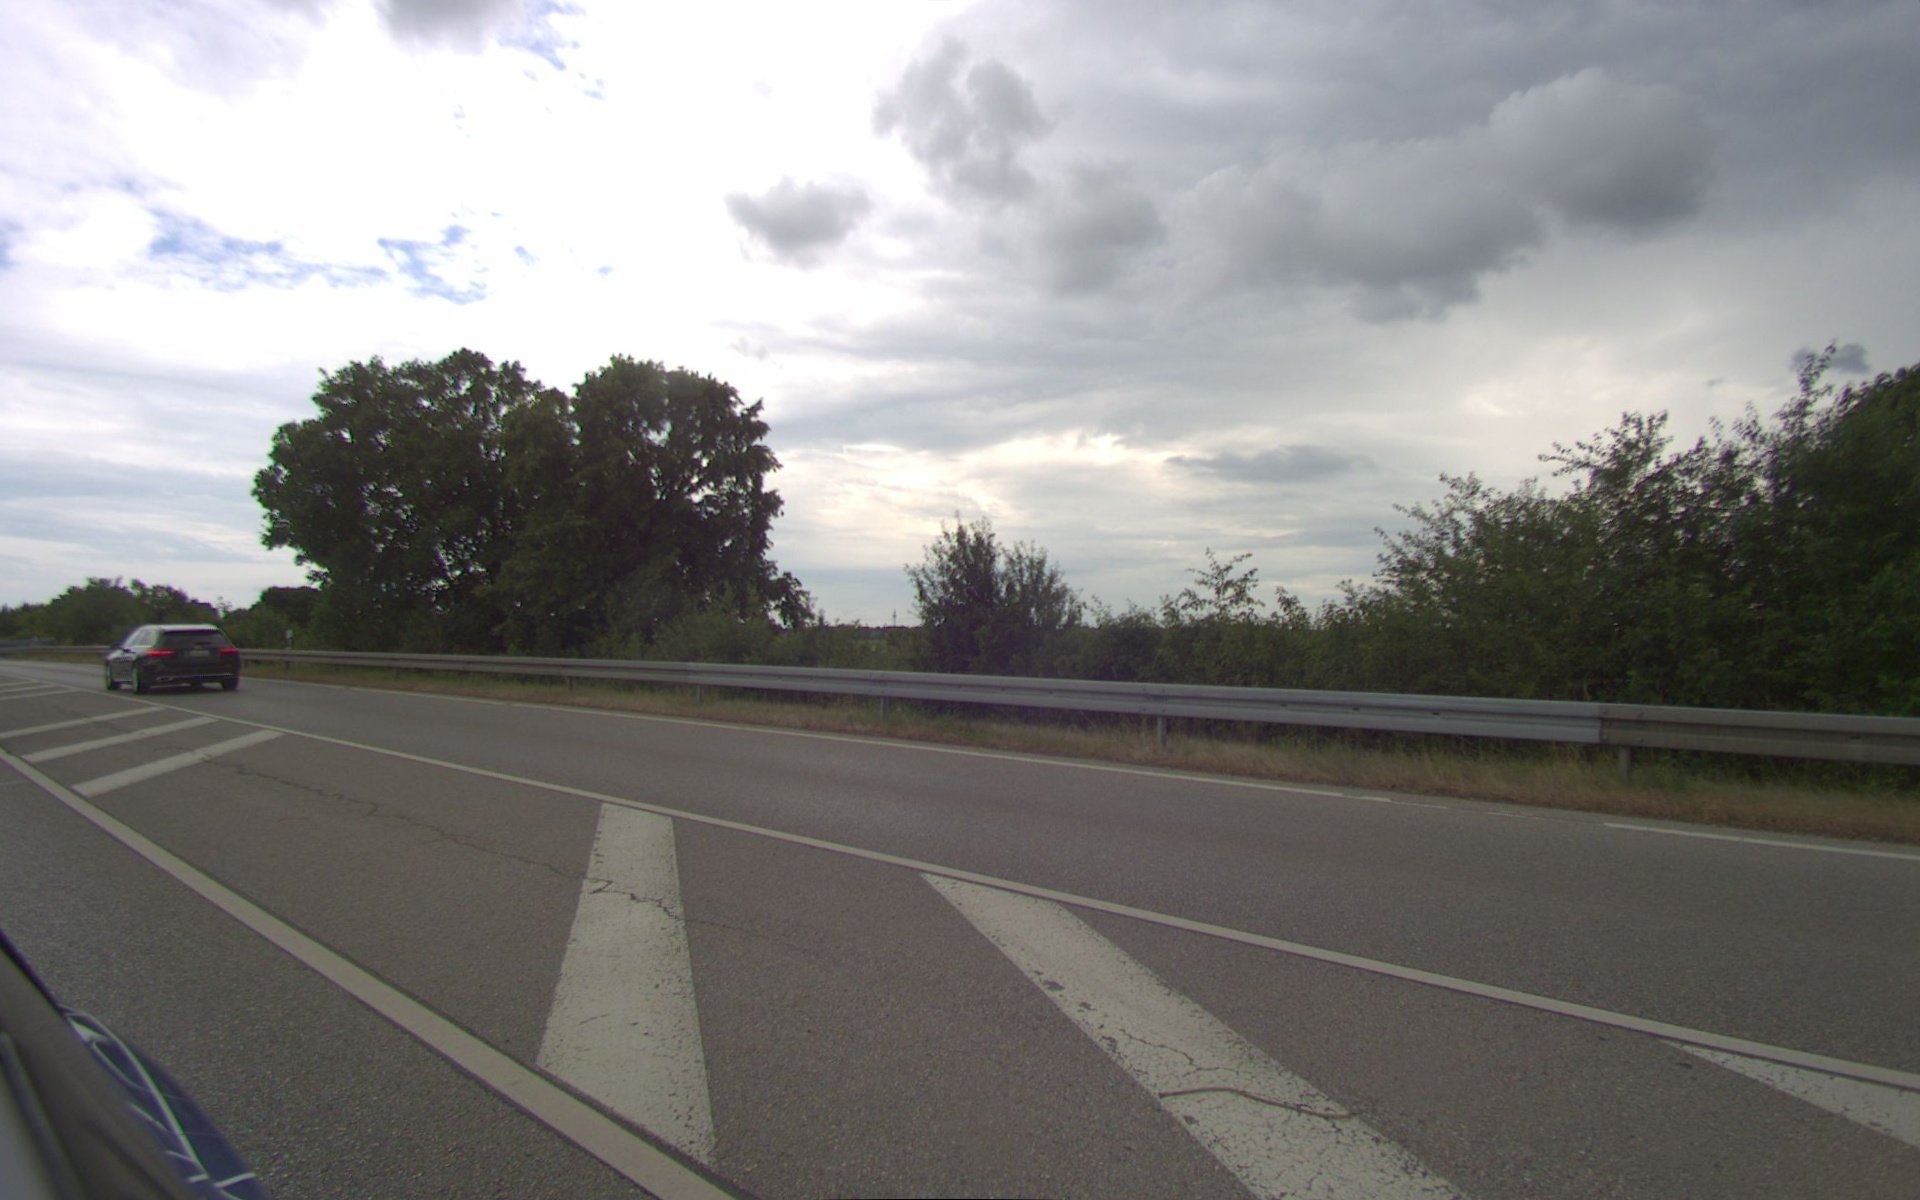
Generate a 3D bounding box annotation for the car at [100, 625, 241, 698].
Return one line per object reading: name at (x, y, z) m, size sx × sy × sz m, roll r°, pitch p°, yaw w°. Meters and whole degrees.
car at (-17.574, 1.304, 22.458) m, size 4.255 × 1.440 × 1.654 m, roll -2°, pitch -2°, yaw 40°
